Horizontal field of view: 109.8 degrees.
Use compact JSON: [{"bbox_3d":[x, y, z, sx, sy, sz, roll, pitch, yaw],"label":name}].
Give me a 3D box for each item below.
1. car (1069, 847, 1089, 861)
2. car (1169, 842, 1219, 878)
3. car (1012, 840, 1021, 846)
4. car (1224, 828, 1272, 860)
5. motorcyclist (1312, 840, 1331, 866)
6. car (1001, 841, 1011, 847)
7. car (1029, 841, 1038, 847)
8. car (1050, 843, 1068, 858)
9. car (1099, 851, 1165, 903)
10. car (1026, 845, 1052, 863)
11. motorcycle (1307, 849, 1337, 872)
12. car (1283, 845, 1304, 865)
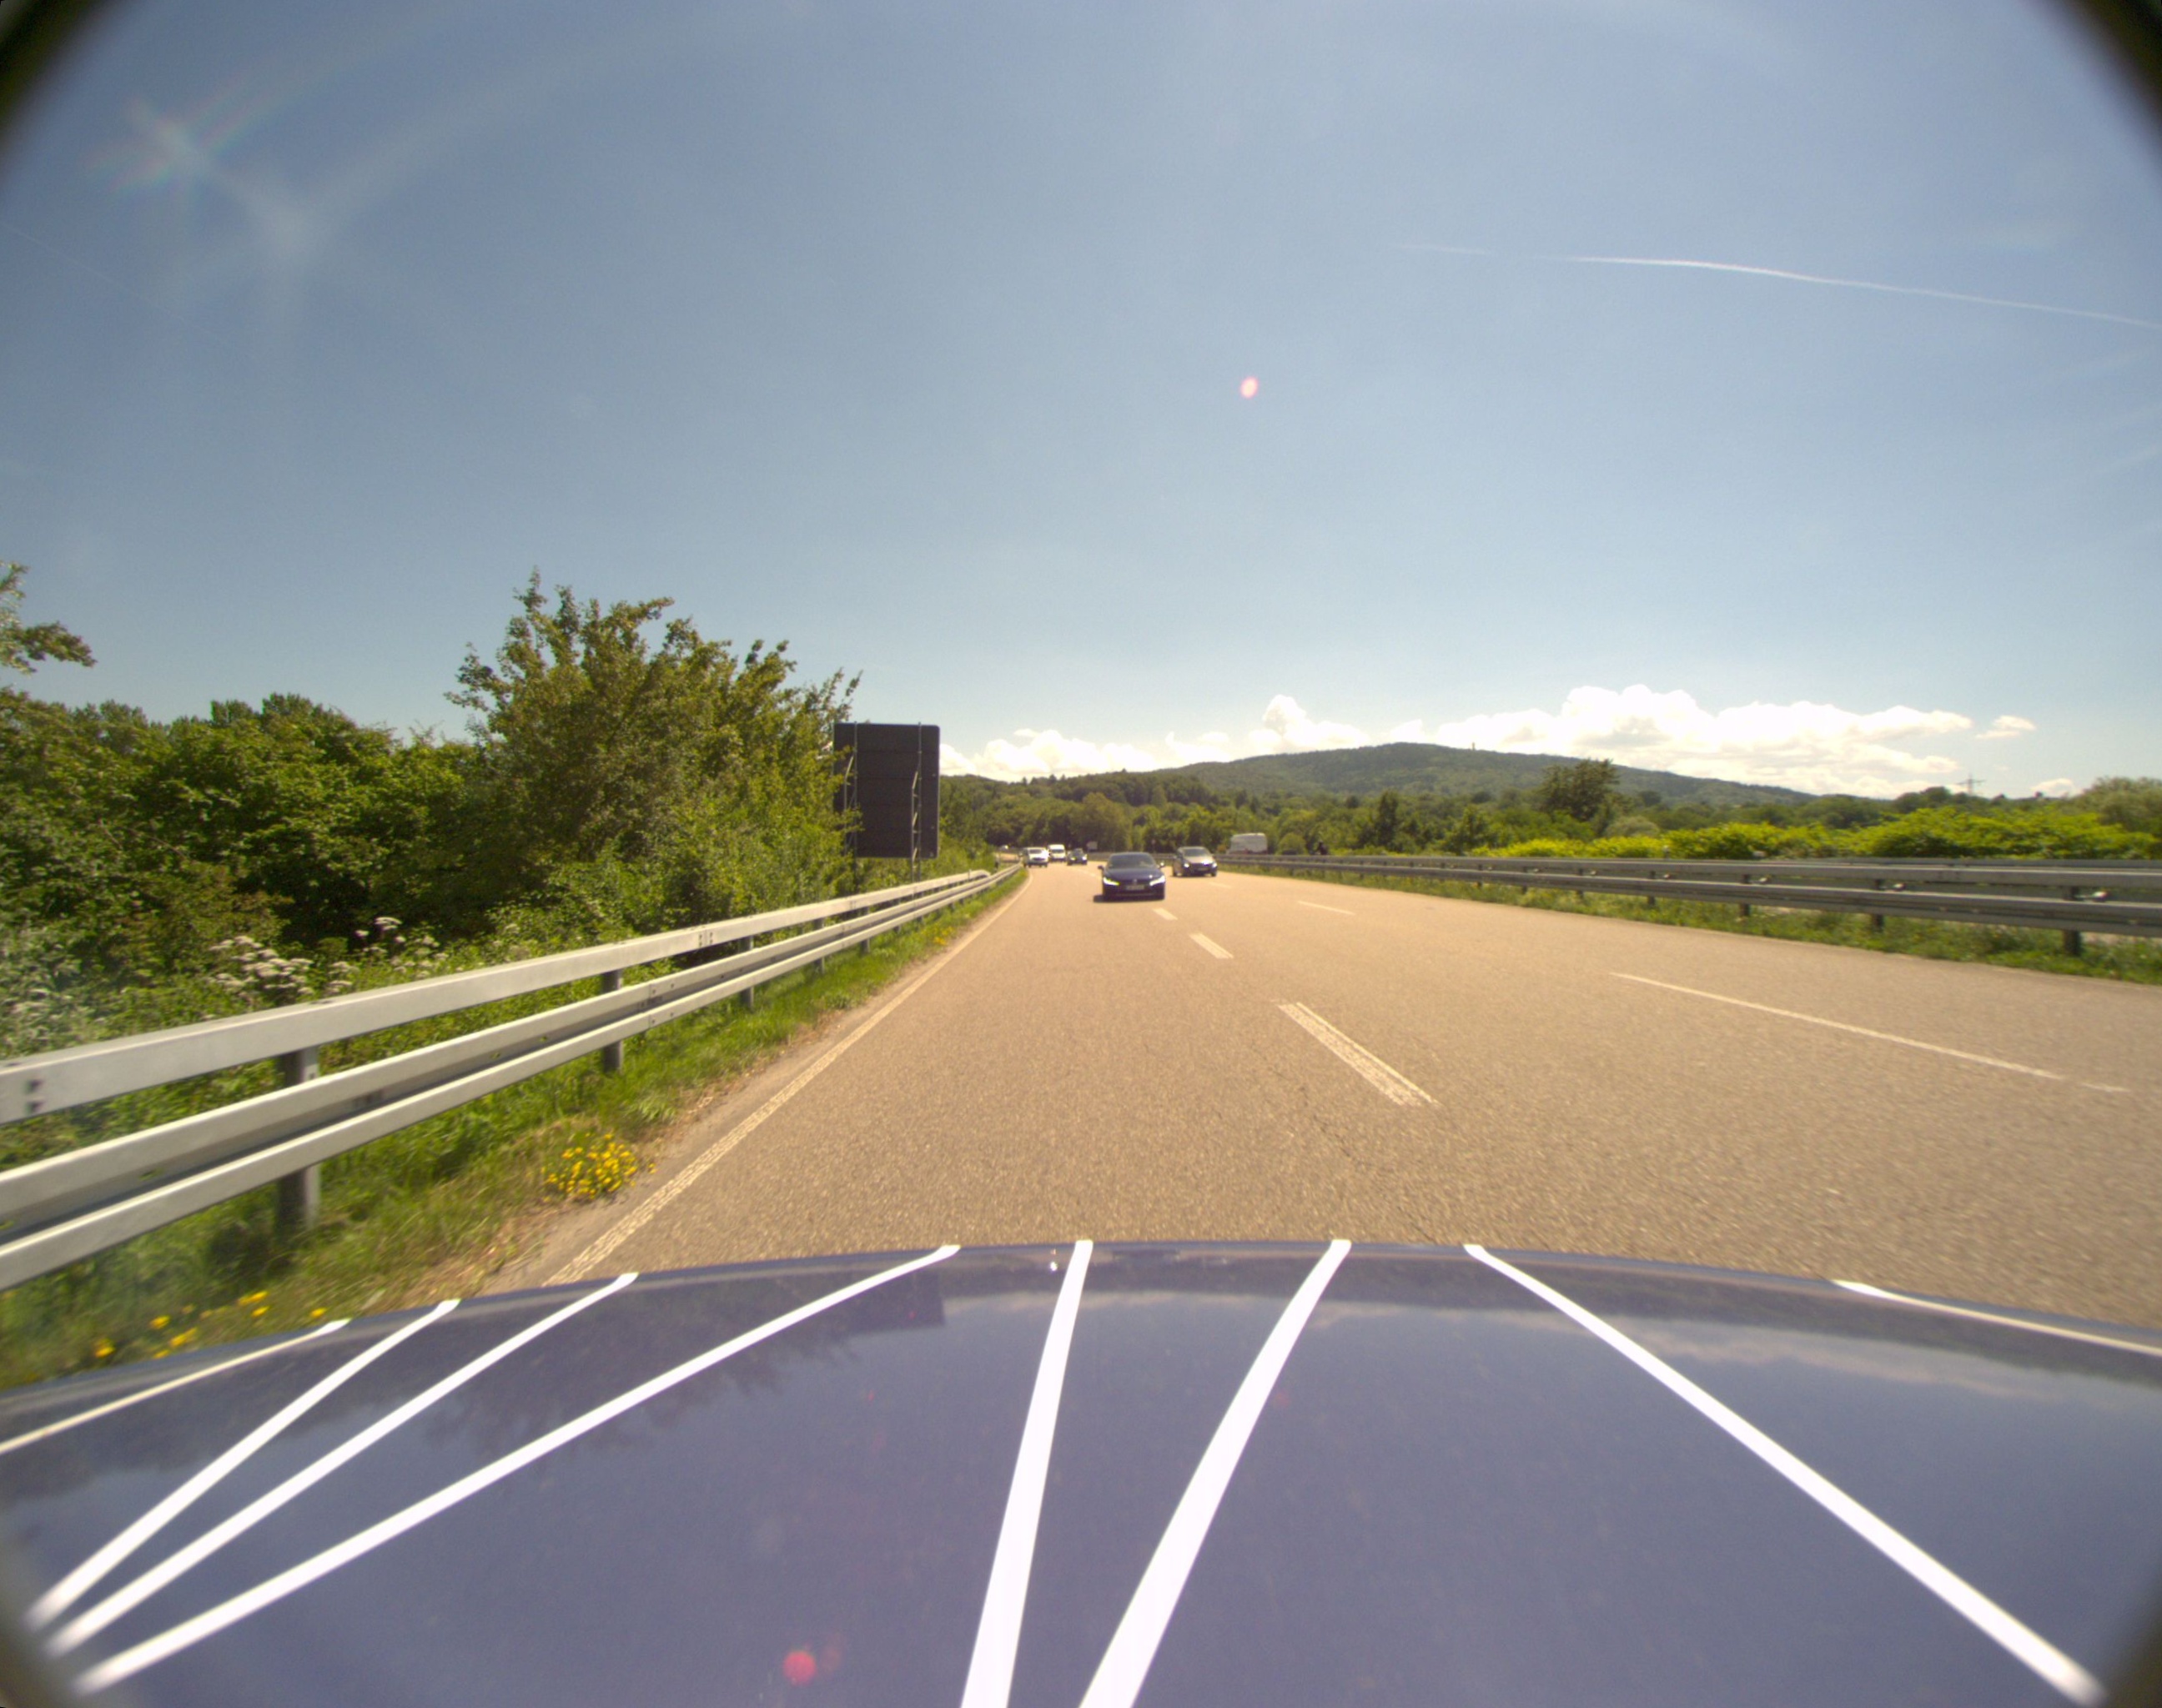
[{"bbox_3d":[-0.240,-0.058,81.127,1.846,1.400,4.467,-1,1,-3],"label":"car"},{"bbox_3d":[5.969,0.253,40.586,1.798,1.658,4.552,-3,2,-2],"label":"car"},{"bbox_3d":[-21.589,-3.834,253.657,2.001,1.882,4.904,-1,2,-14],"label":"car"},{"bbox_3d":[15.069,-0.987,69.072,2.286,2.758,7.216,-1,2,-4],"label":"car"},{"bbox_3d":[13.243,-0.056,41.822,0.793,1.426,0.767,0,2,-1],"label":"motorcyclist"},{"bbox_3d":[-24.419,-3.294,248.636,2.002,1.882,4.902,-1,2,-21],"label":"car"},{"bbox_3d":[-14.228,-3.057,228.247,2.001,1.882,4.904,-1,2,-14],"label":"car"},{"bbox_3d":[-3.080,-0.509,104.806,2.009,1.988,4.575,-1,2,-7],"label":"car"},{"bbox_3d":[1.496,0.649,23.856,1.846,1.400,4.469,-2,1,1],"label":"car"},{"bbox_3d":[-4.246,-0.021,75.875,1.886,1.724,4.464,-2,2,-12],"label":"car"},{"bbox_3d":[13.255,0.348,41.837,0.793,1.137,2.528,0,2,-1],"label":"motorcycle"},{"bbox_3d":[29.763,0.106,106.379,2.205,2.623,5.633,1,2,23],"label":"car"}]
